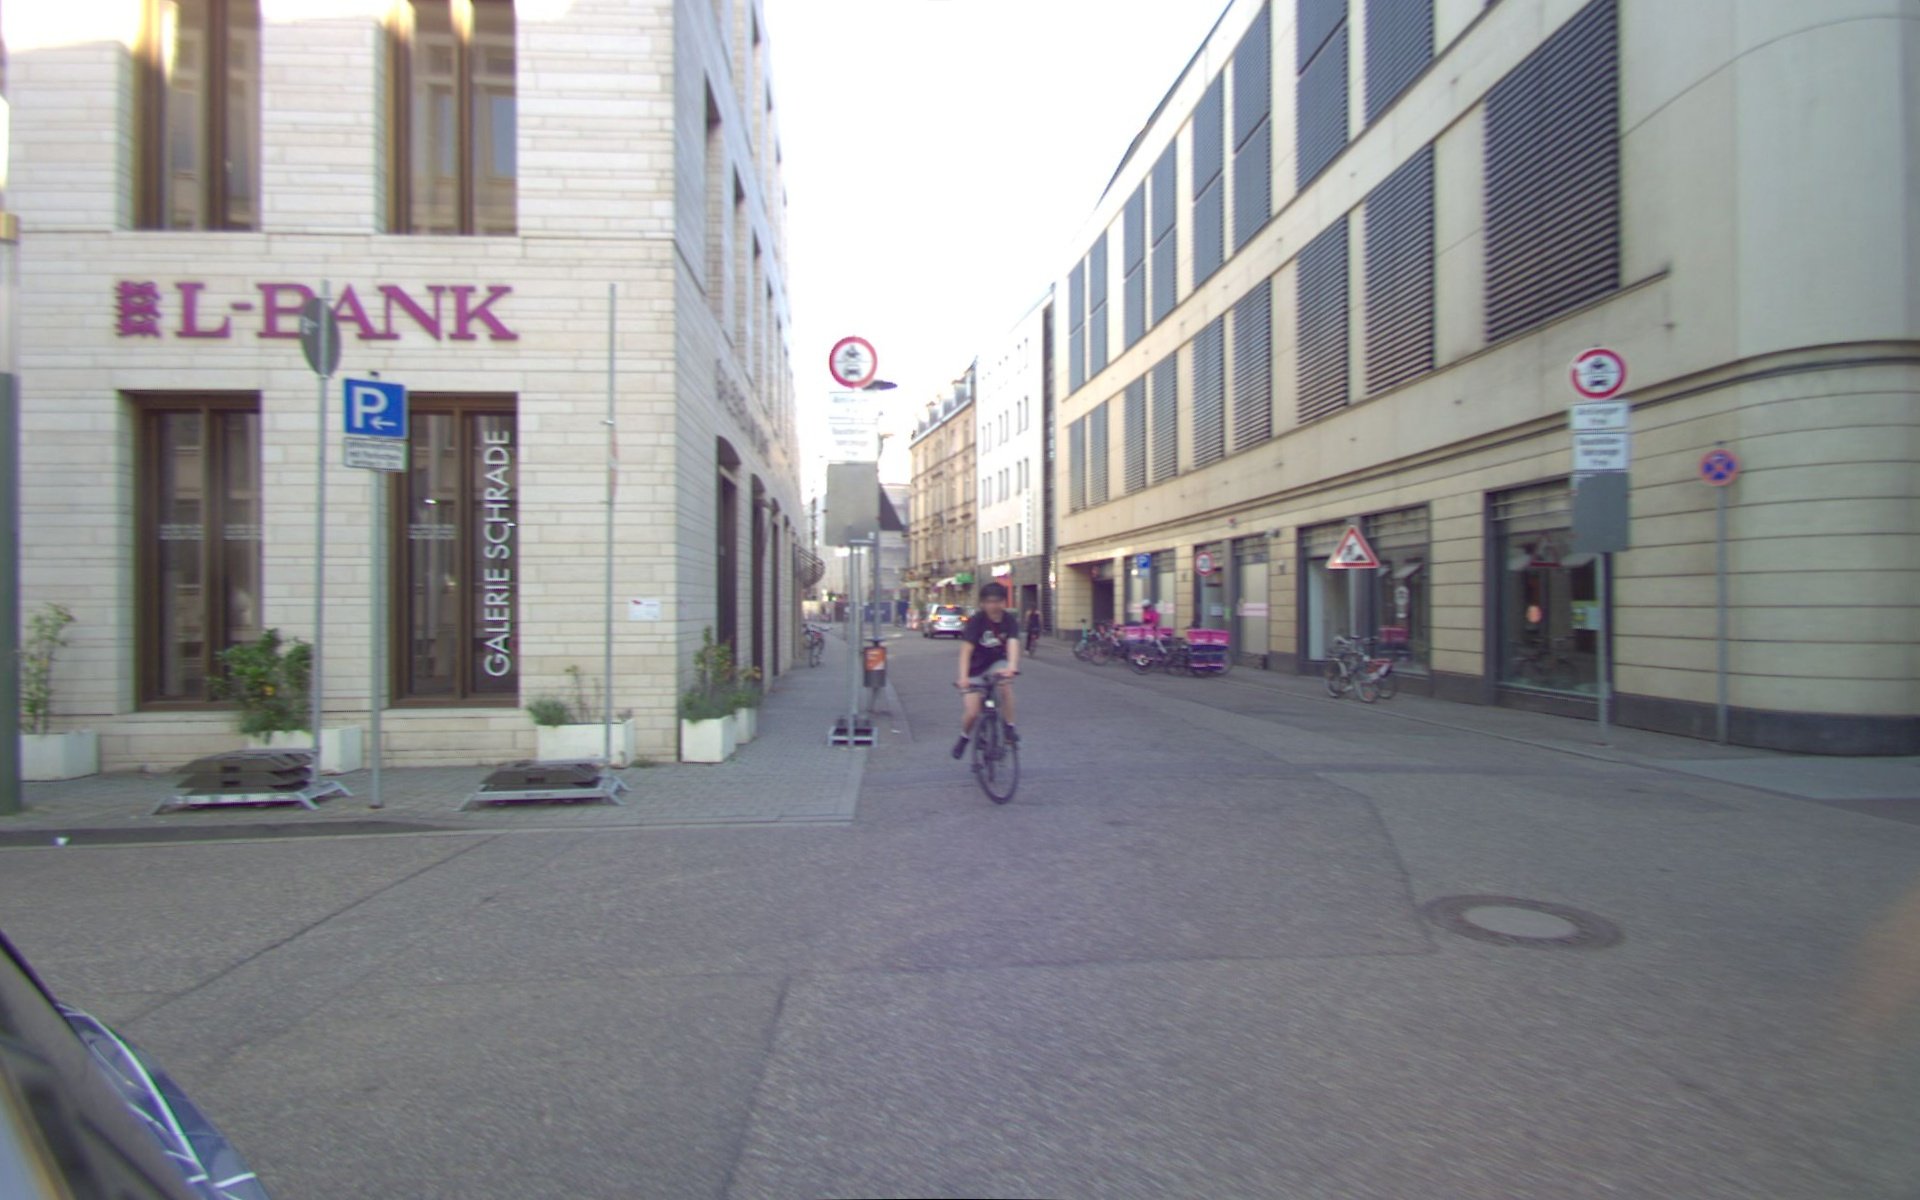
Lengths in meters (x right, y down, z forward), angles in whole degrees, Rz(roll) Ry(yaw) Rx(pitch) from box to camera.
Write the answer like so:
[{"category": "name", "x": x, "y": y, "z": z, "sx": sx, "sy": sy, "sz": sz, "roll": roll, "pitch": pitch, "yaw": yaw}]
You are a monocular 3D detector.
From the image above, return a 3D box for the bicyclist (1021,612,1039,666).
[{"category": "bicyclist", "x": 2.158, "y": 1.193, "z": 31.096, "sx": 0.491, "sy": 1.638, "sz": 0.632, "roll": 1, "pitch": -1, "yaw": 0}]

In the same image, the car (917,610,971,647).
[{"category": "car", "x": -0.817, "y": 1.351, "z": 49.177, "sx": 2.143, "sy": 1.674, "sz": 4.006, "roll": 1, "pitch": 0, "yaw": -7}]

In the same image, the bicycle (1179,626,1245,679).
[{"category": "bicycle", "x": 6.133, "y": 1.264, "z": 24.636, "sx": 1.498, "sy": 1.259, "sz": 0.353, "roll": 1, "pitch": -1, "yaw": 1}]

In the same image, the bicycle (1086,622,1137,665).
[{"category": "bicycle", "x": 4.566, "y": 1.308, "z": 30.511, "sx": 1.501, "sy": 1.259, "sz": 0.352, "roll": 1, "pitch": -1, "yaw": 9}]

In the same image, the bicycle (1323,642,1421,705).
[{"category": "bicycle", "x": 7.048, "y": 1.252, "z": 17.351, "sx": 1.506, "sy": 1.041, "sz": 0.351, "roll": -1, "pitch": -2, "yaw": 18}]

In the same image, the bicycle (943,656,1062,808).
[{"category": "bicycle", "x": 0.289, "y": 0.984, "z": 8.083, "sx": 0.503, "sy": 0.981, "sz": 1.825, "roll": 1, "pitch": 0, "yaw": -12}]

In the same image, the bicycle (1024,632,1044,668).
[{"category": "bicycle", "x": 2.252, "y": 1.491, "z": 30.818, "sx": 0.511, "sy": 1.002, "sz": 2.108, "roll": 1, "pitch": 0, "yaw": 2}]

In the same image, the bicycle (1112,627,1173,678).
[{"category": "bicycle", "x": 4.658, "y": 1.328, "z": 25.775, "sx": 1.504, "sy": 1.259, "sz": 0.351, "roll": 1, "pitch": -1, "yaw": 13}]

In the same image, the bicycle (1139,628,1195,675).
[{"category": "bicycle", "x": 5.734, "y": 1.412, "z": 27.998, "sx": 1.504, "sy": 1.259, "sz": 0.351, "roll": 1, "pitch": -1, "yaw": 13}]

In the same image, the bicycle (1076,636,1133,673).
[{"category": "bicycle", "x": 3.969, "y": 1.492, "z": 27.817, "sx": 1.498, "sy": 0.960, "sz": 0.353, "roll": 1, "pitch": -1, "yaw": 2}]

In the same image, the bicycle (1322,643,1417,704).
[{"category": "bicycle", "x": 7.152, "y": 1.271, "z": 17.722, "sx": 1.506, "sy": 1.041, "sz": 0.351, "roll": -1, "pitch": -2, "yaw": 18}]

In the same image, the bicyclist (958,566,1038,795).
[{"category": "bicyclist", "x": 0.291, "y": 0.616, "z": 8.033, "sx": 0.493, "sy": 1.745, "sz": 0.553, "roll": 1, "pitch": -1, "yaw": -12}]

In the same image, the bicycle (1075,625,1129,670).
[{"category": "bicycle", "x": 4.066, "y": 1.347, "z": 28.994, "sx": 1.500, "sy": 1.259, "sz": 0.352, "roll": 1, "pitch": -1, "yaw": 5}]
